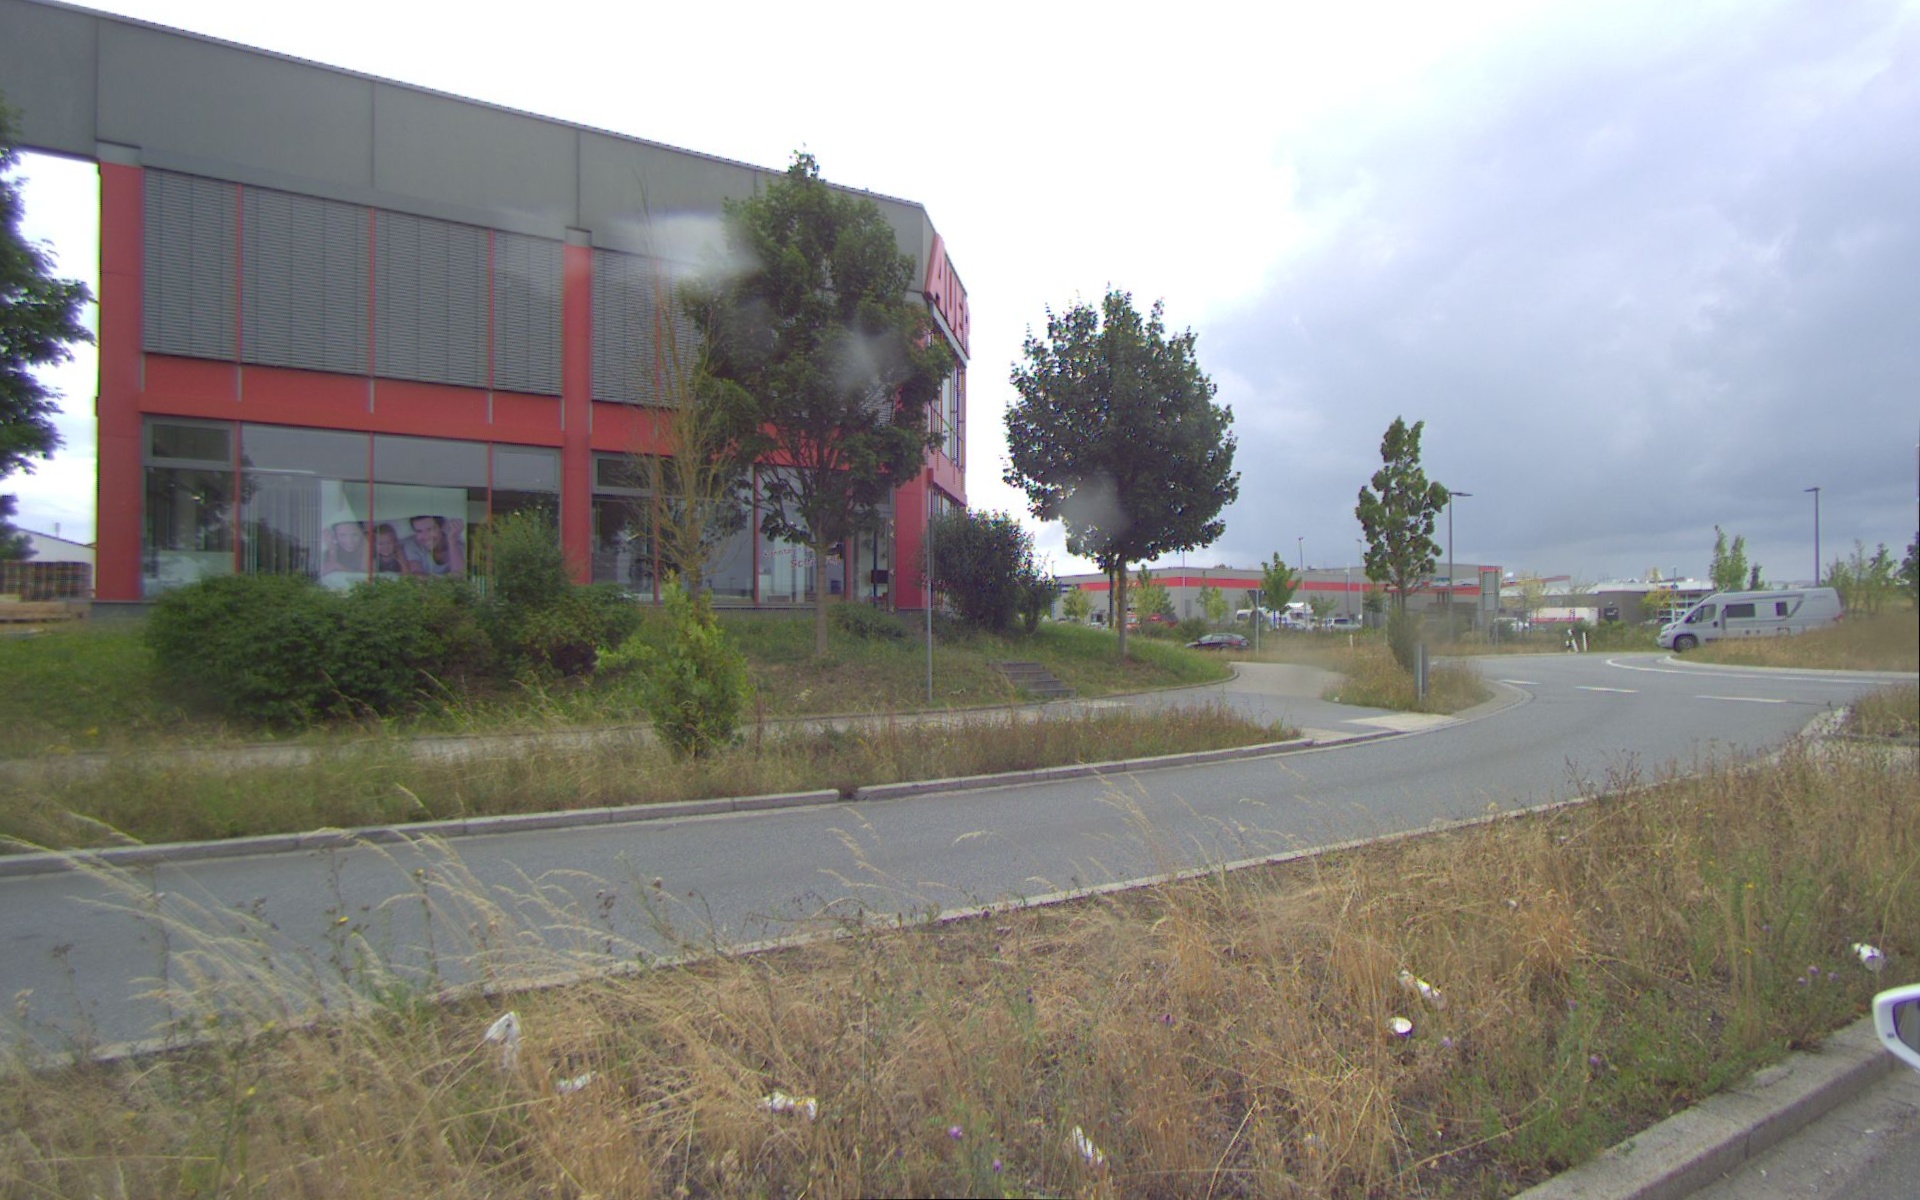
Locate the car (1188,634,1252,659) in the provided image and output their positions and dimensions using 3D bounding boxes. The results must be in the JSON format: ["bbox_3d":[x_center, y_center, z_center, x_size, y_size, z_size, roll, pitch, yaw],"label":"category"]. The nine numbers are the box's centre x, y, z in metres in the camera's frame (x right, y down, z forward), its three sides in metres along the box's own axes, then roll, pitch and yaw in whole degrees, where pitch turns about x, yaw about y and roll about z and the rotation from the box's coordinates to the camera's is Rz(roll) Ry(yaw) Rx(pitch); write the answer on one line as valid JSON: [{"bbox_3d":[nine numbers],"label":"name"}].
[{"bbox_3d":[14.959,2.677,57.927,1.451,1.342,3.822,1,-2,-27],"label":"car"}]

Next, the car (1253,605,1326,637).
[{"bbox_3d":[32.215,2.054,98.159,7.606,2.857,2.449,2,0,-33],"label":"car"}]

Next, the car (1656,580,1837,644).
[{"bbox_3d":[32.344,0.458,41.581,5.613,2.419,2.275,2,0,33],"label":"car"}]
